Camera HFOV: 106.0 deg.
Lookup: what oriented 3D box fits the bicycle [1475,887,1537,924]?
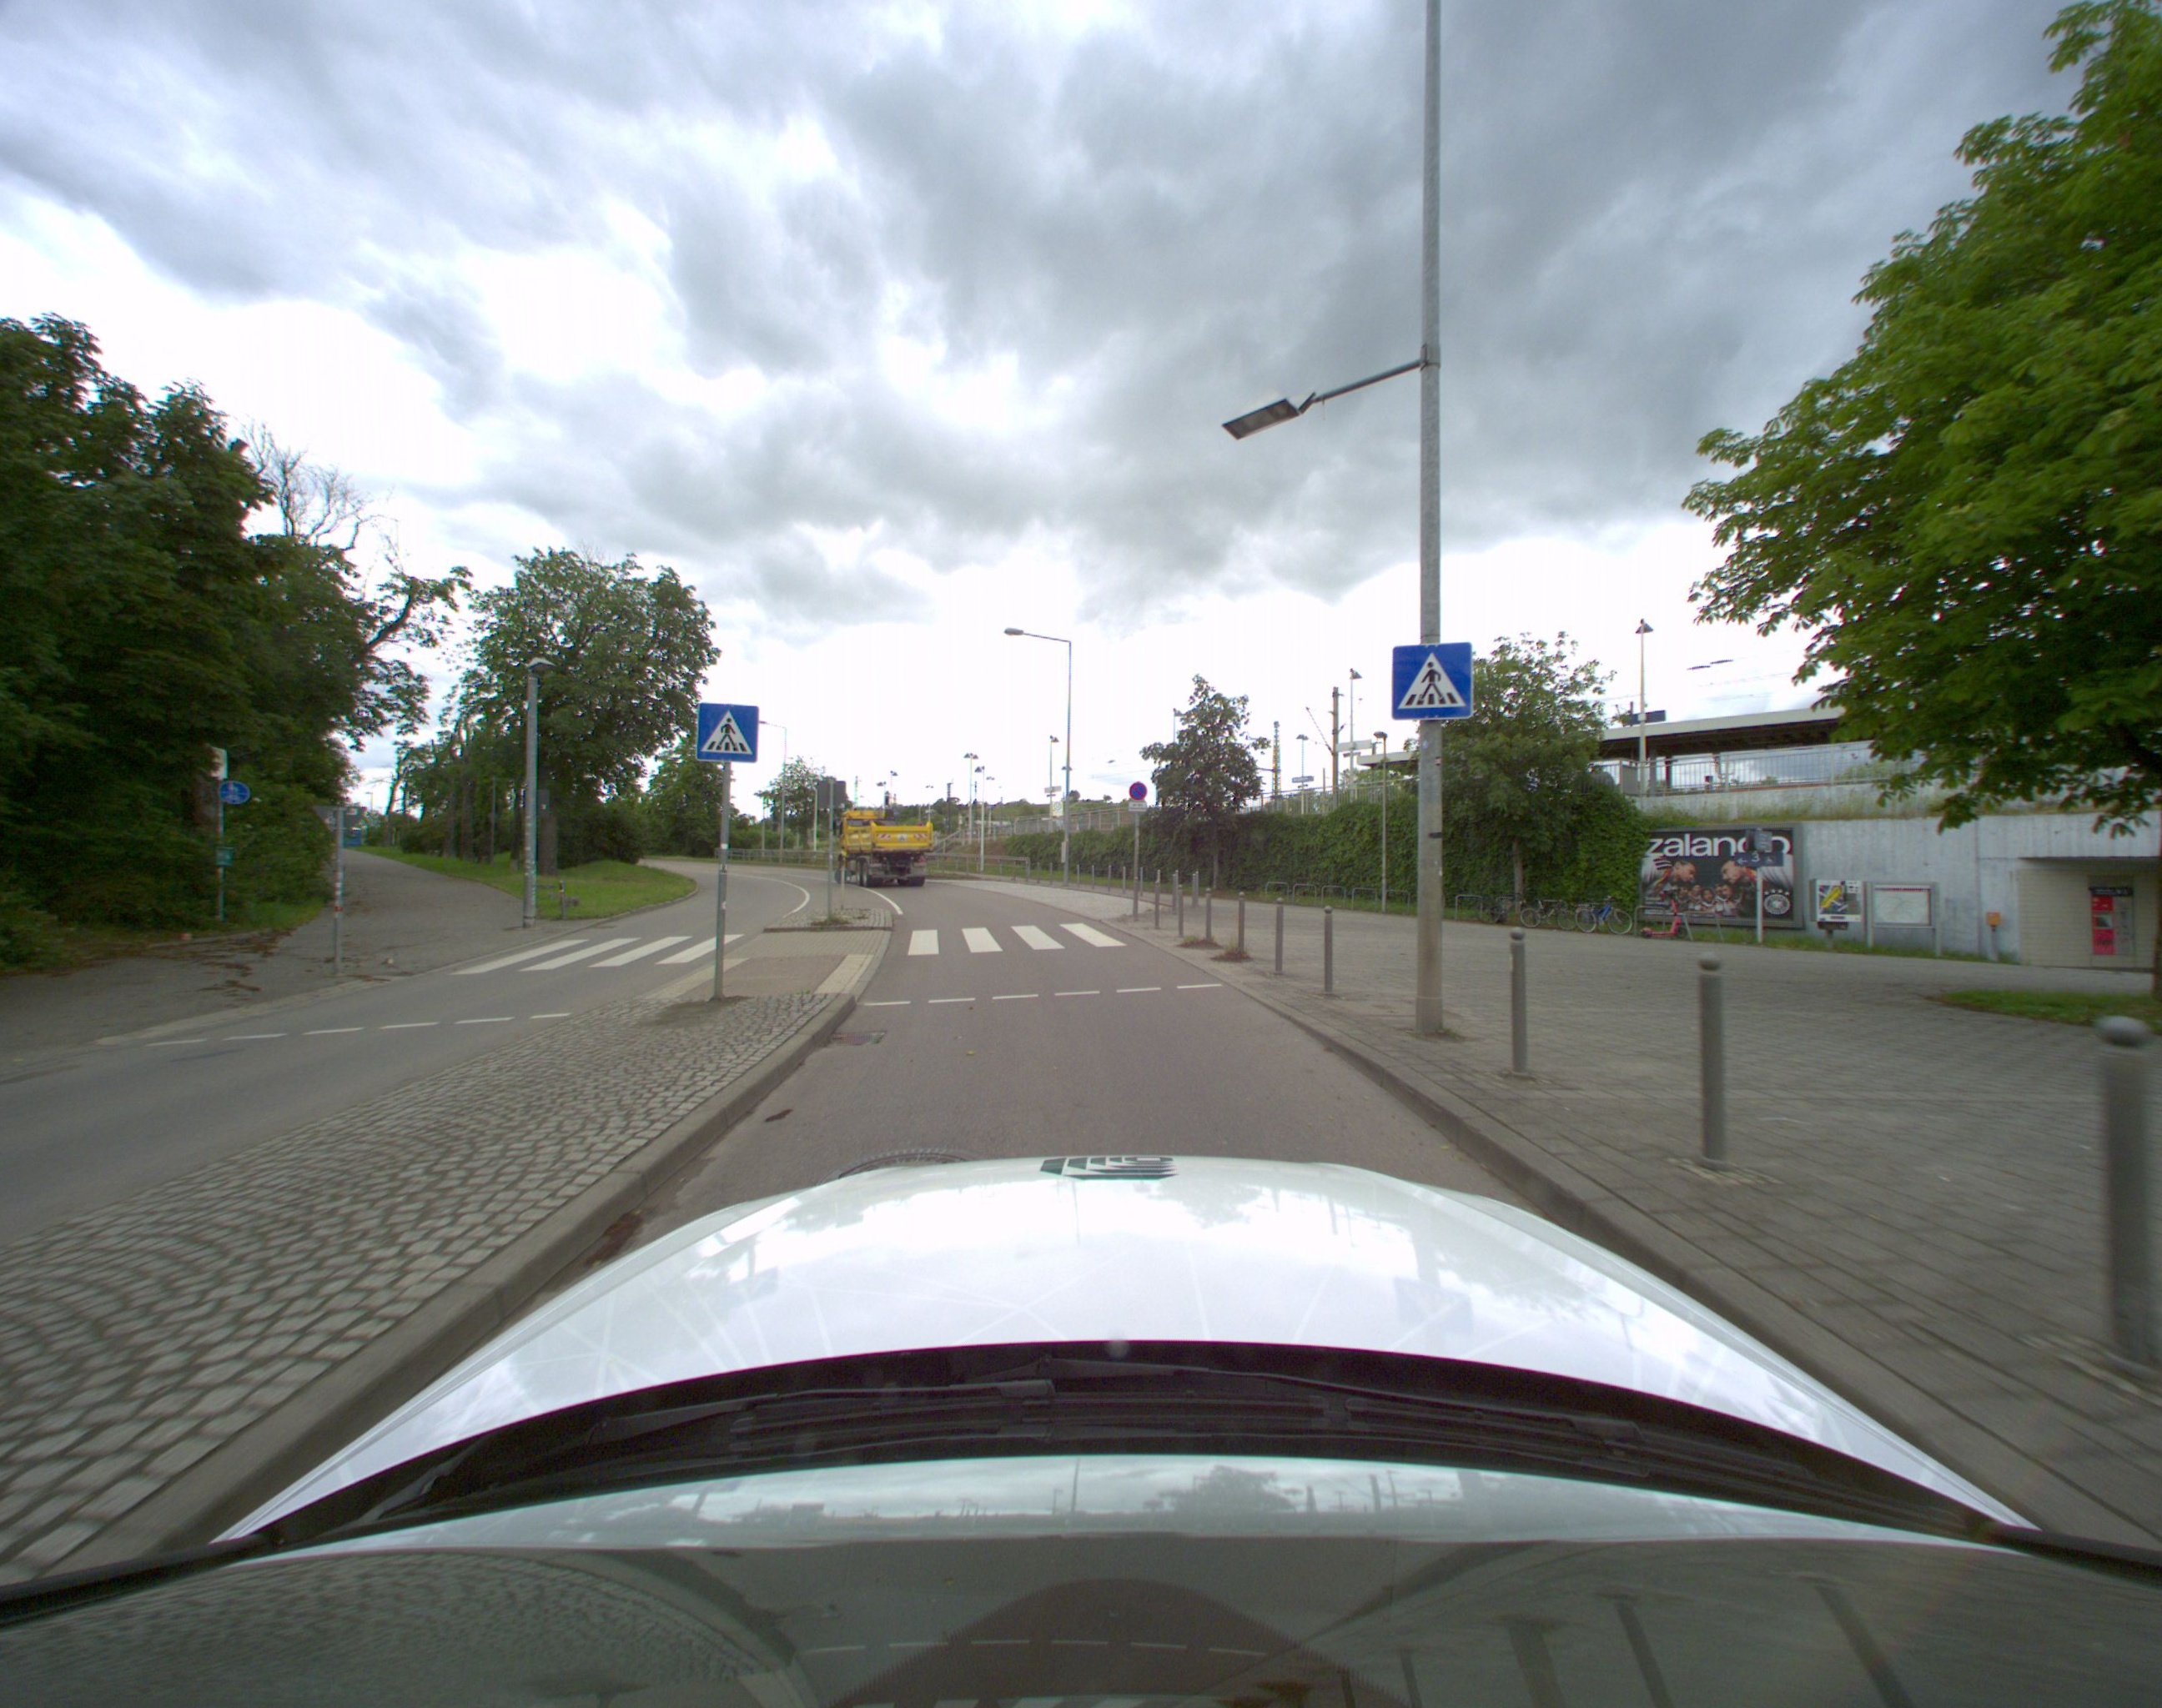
[{"bbox_3d":[12.516,1.506,24.032,1.477,0.989,0.697,2,0,12],"label":"bicycle"}]

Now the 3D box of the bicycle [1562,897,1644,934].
[{"bbox_3d":[14.285,1.677,22.298,1.963,0.865,0.510,4,0,-6],"label":"bicycle"}]

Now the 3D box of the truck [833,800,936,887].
[{"bbox_3d":[-9.045,-0.516,36.708,2.780,3.483,8.059,0,1,-27],"label":"truck"}]

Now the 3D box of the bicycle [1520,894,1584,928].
[{"bbox_3d":[13.499,1.636,23.346,1.571,0.854,0.463,3,0,-3],"label":"bicycle"}]

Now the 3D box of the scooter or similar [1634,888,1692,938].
[{"bbox_3d":[15.077,1.516,21.104,1.184,1.206,0.468,3,-1,-3],"label":"scooter or similar"}]
